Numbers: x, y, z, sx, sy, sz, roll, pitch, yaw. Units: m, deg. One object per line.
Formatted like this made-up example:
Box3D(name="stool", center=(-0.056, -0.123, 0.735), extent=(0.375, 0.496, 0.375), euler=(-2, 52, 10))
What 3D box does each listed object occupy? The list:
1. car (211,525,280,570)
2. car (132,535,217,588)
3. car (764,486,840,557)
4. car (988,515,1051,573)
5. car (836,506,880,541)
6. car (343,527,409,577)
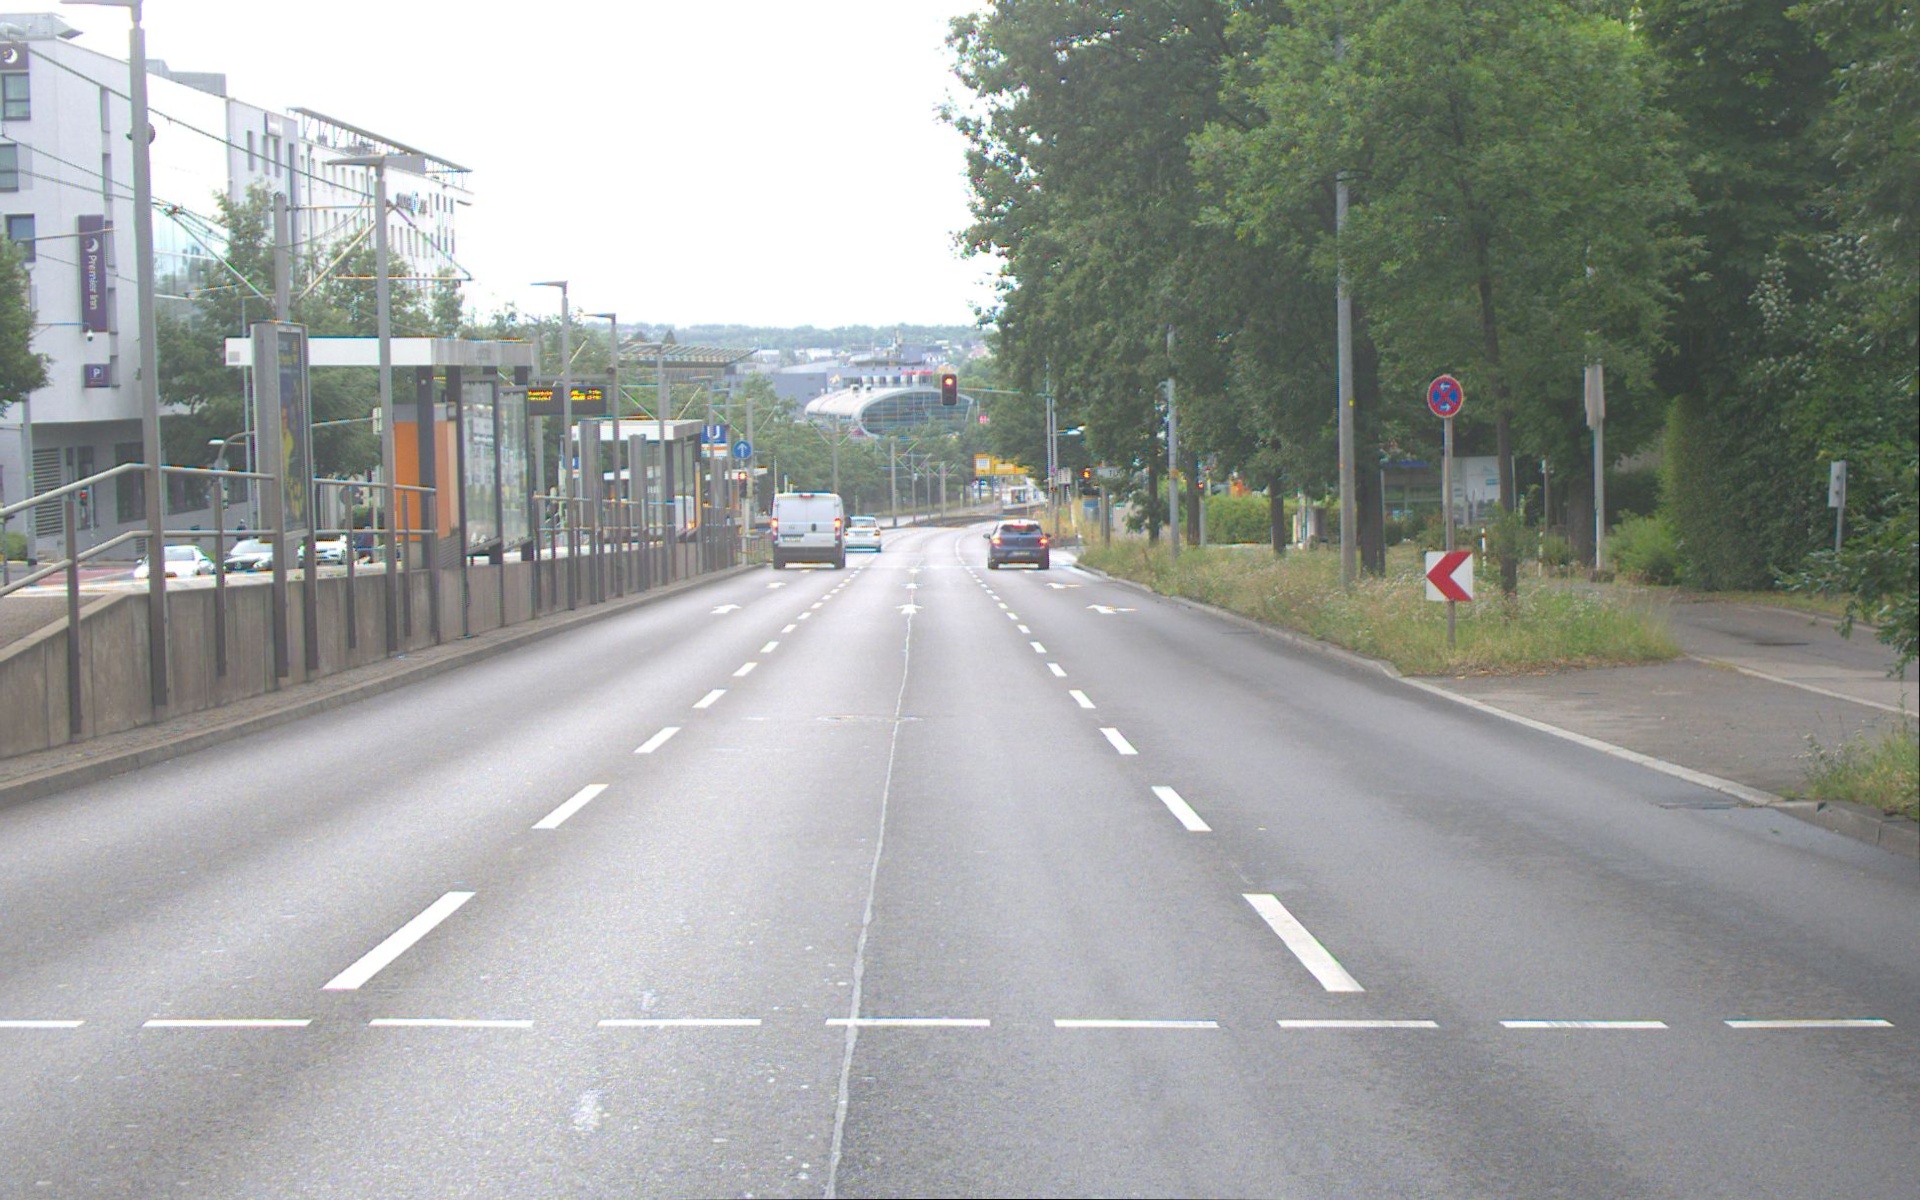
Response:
Box3D(name="car", center=(-22.373, -1.665, 107.782), extent=(1.567, 1.374, 3.519), euler=(0, 2, -2))
Box3D(name="car", center=(-22.532, -1.119, 98.718), extent=(1.650, 1.431, 3.880), euler=(-3, 1, -3))
Box3D(name="car", center=(-4.686, -2.337, 102.414), extent=(2.093, 2.046, 4.607), euler=(0, 1, -1))
Box3D(name="car", center=(1.766, -1.690, 102.857), extent=(1.774, 1.685, 3.846), euler=(0, 1, -1))
Box3D(name="car", center=(-4.194, -3.160, 141.882), extent=(1.783, 1.385, 4.001), euler=(0, 1, -1))
Box3D(name="car", center=(-17.860, -1.458, 105.039), extent=(1.650, 1.431, 3.881), euler=(-3, 1, -13))
